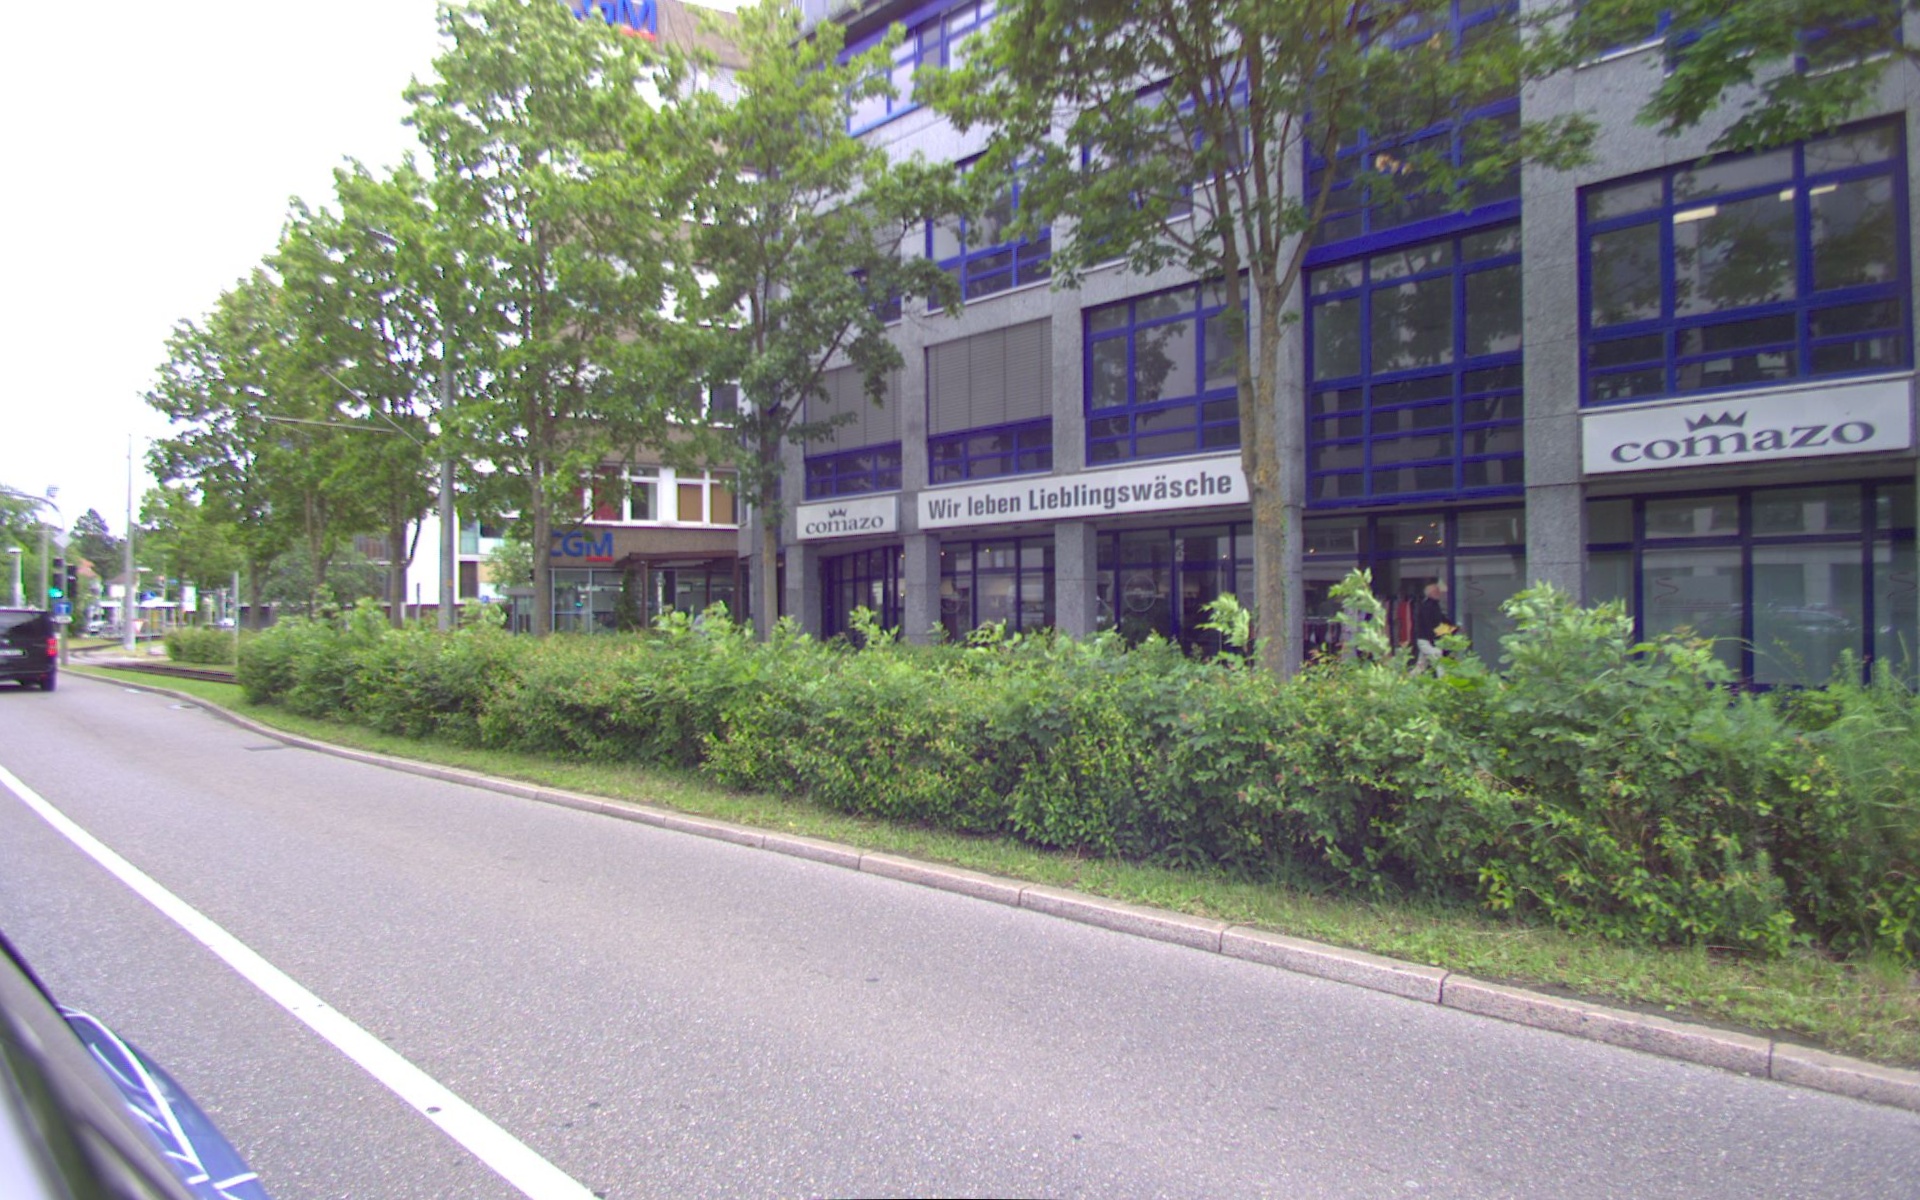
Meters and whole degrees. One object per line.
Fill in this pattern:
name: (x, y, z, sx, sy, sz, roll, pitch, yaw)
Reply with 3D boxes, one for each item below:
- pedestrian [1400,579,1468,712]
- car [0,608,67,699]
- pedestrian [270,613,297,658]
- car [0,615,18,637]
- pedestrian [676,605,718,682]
pedestrian: (7.058, 0.658, 15.072, 0.731, 1.908, 0.766, -1, 0, 40)
car: (-22.542, 1.180, 23.563, 4.734, 1.962, 1.973, -1, -2, 41)
pedestrian: (-29.432, 1.530, 44.044, 0.731, 1.938, 0.805, -1, 0, 40)
car: (-90.392, 2.414, 94.872, 1.965, 2.029, 4.013, 0, 0, -25)
pedestrian: (-6.370, 1.037, 24.471, 0.730, 1.819, 0.672, -1, 0, 36)
